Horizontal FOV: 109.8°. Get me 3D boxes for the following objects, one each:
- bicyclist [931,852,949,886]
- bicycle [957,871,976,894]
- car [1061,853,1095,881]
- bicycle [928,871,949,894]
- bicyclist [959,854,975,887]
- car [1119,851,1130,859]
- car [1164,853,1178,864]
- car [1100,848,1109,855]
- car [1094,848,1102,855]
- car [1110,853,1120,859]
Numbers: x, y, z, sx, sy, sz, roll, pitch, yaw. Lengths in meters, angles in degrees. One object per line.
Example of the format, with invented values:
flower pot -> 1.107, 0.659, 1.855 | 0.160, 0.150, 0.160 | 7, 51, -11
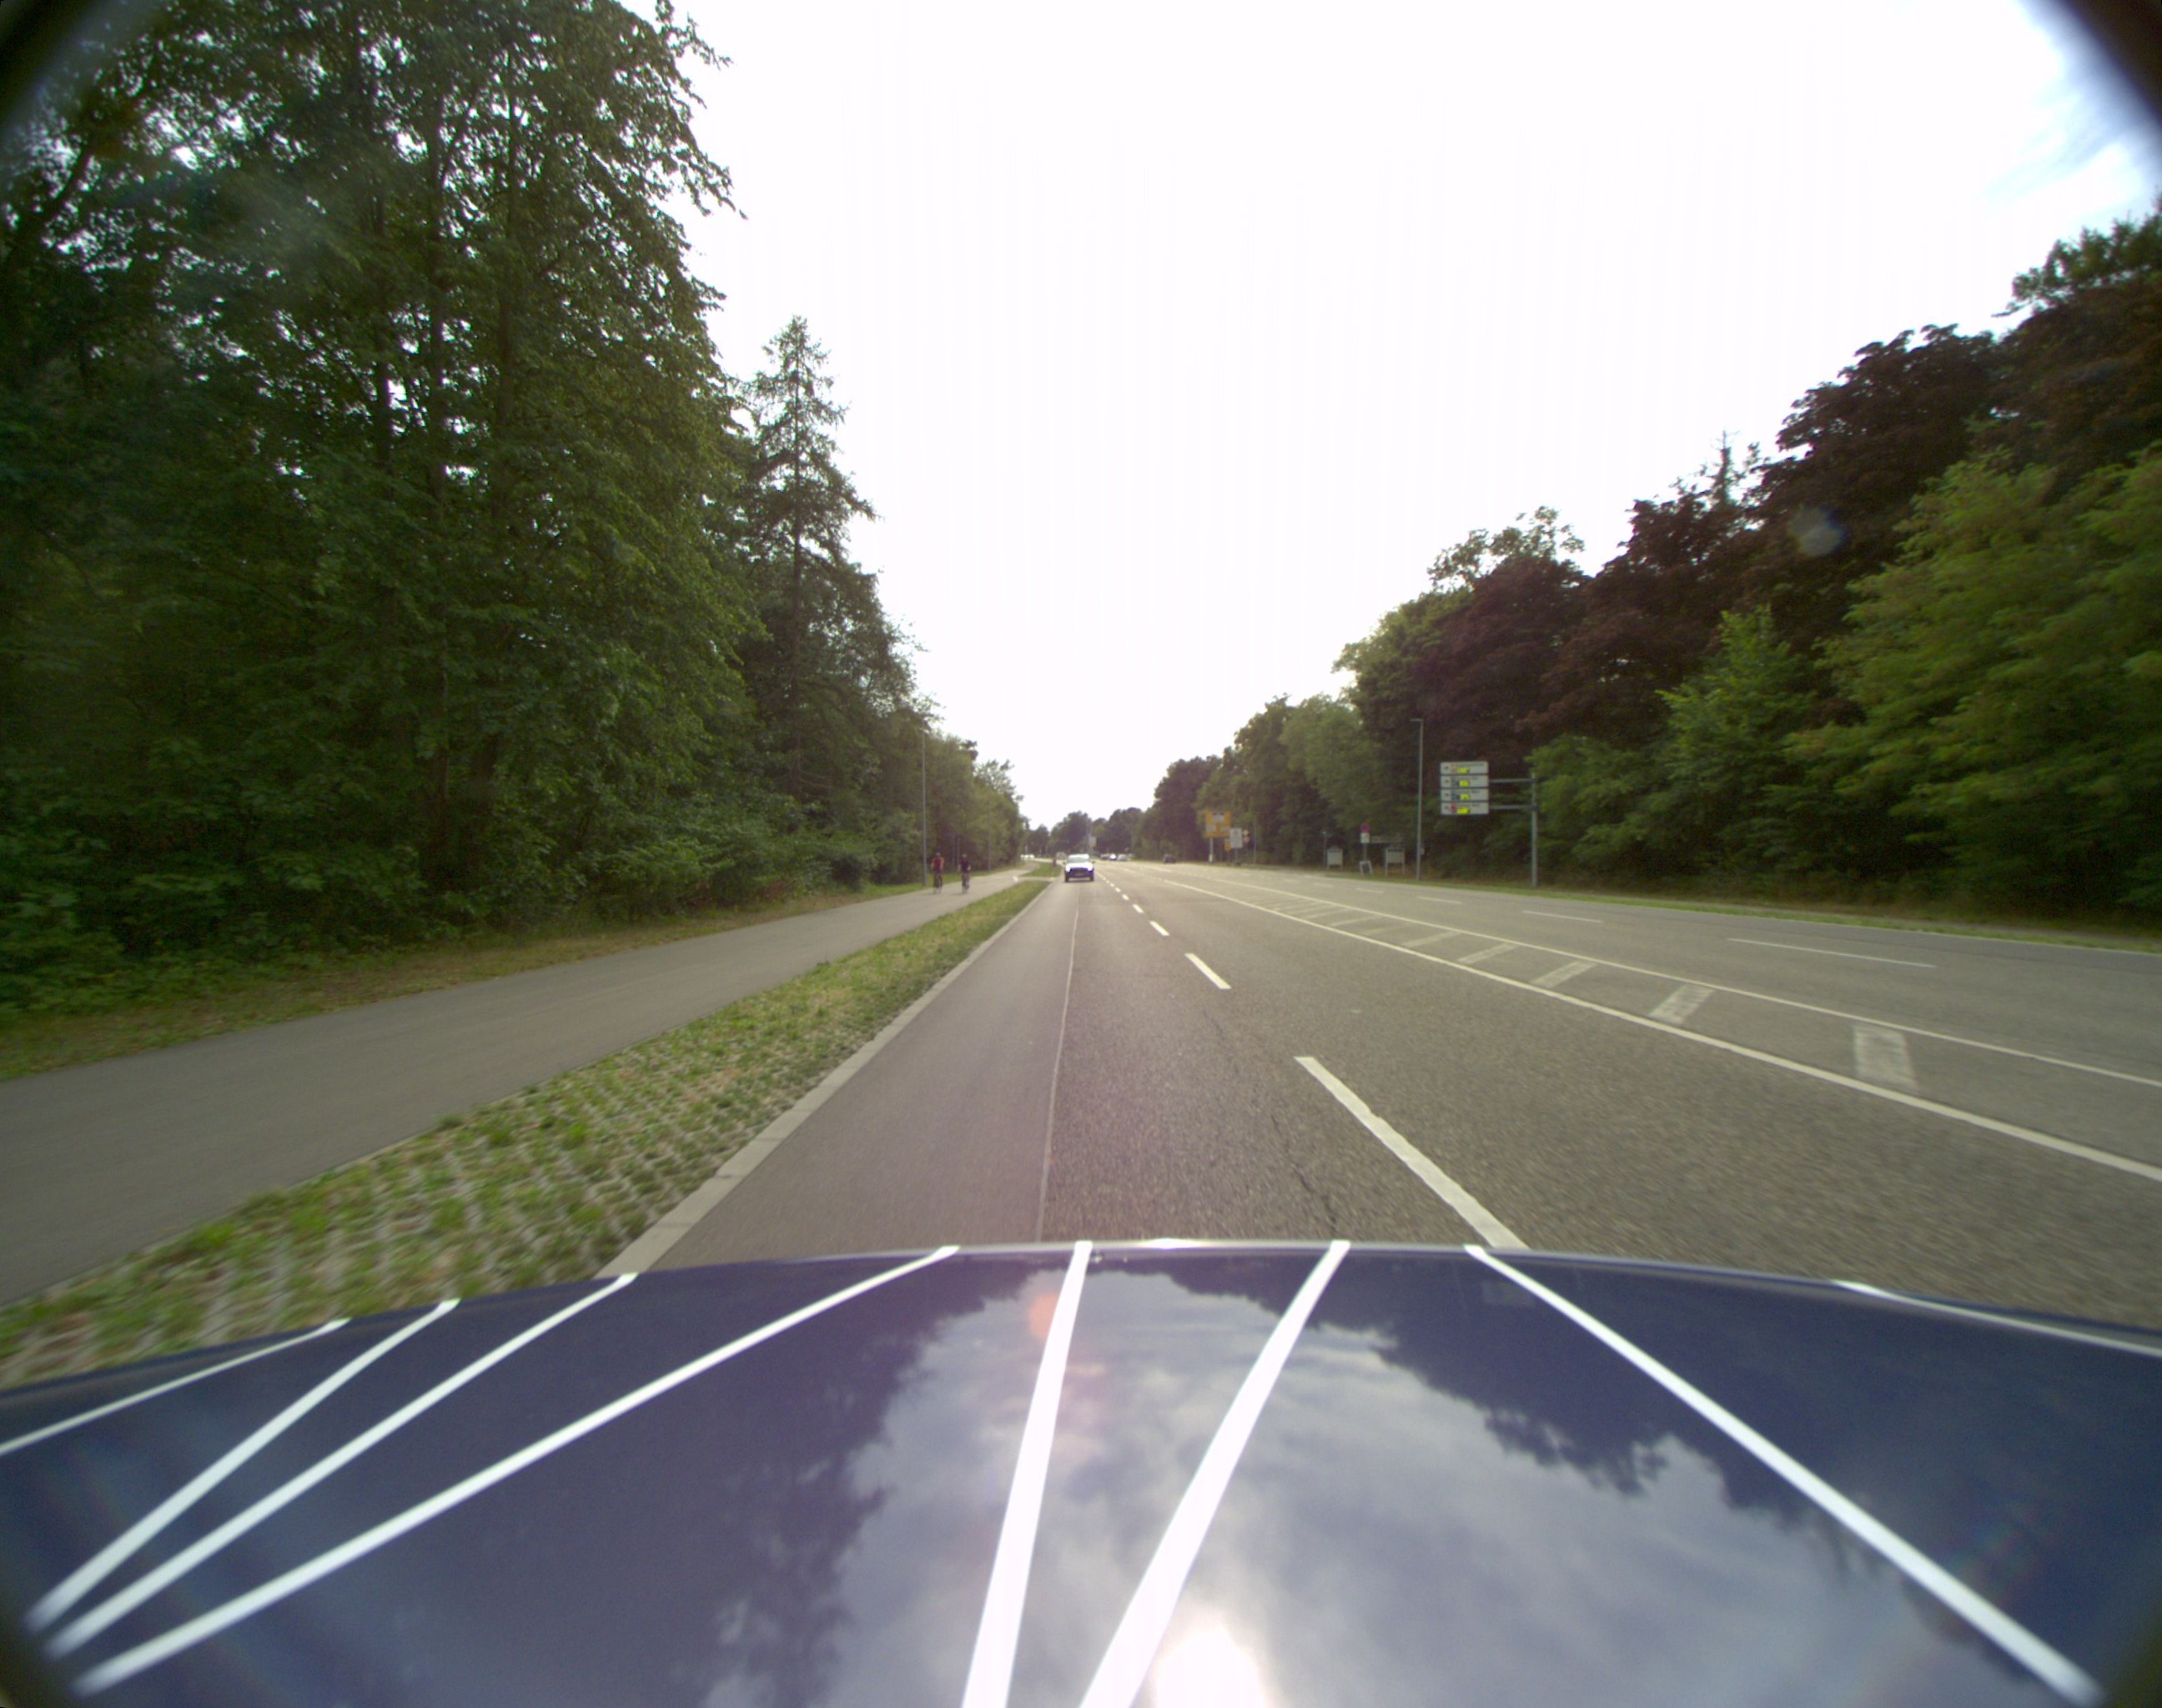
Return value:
bicyclist -> -6.131, 0.651, 32.971 | 0.521, 1.407, 1.186 | -2, 1, -1
bicycle -> -4.979, 1.214, 33.142 | 0.567, 0.906, 1.754 | 1, 1, -1
car -> -0.151, 0.779, 48.230 | 1.998, 1.565, 4.000 | -3, 1, 1
bicycle -> -6.173, 1.209, 32.953 | 0.567, 0.906, 1.886 | 2, 0, -1
bicyclist -> -4.955, 0.698, 33.071 | 0.521, 1.407, 1.186 | -1, 1, -1
car -> 9.596, 0.221, 168.045 | 1.940, 1.492, 4.589 | -3, 1, -4
car -> 13.625, 0.705, 115.218 | 1.745, 1.467, 4.000 | -3, 1, 2
car -> 6.708, -0.694, 215.444 | 1.999, 1.871, 3.998 | -3, 1, -4
car -> 5.106, -0.767, 229.990 | 1.999, 2.002, 3.997 | -3, 1, -5
car -> 9.098, 0.569, 203.955 | 1.999, 1.585, 3.998 | -3, 1, -3
